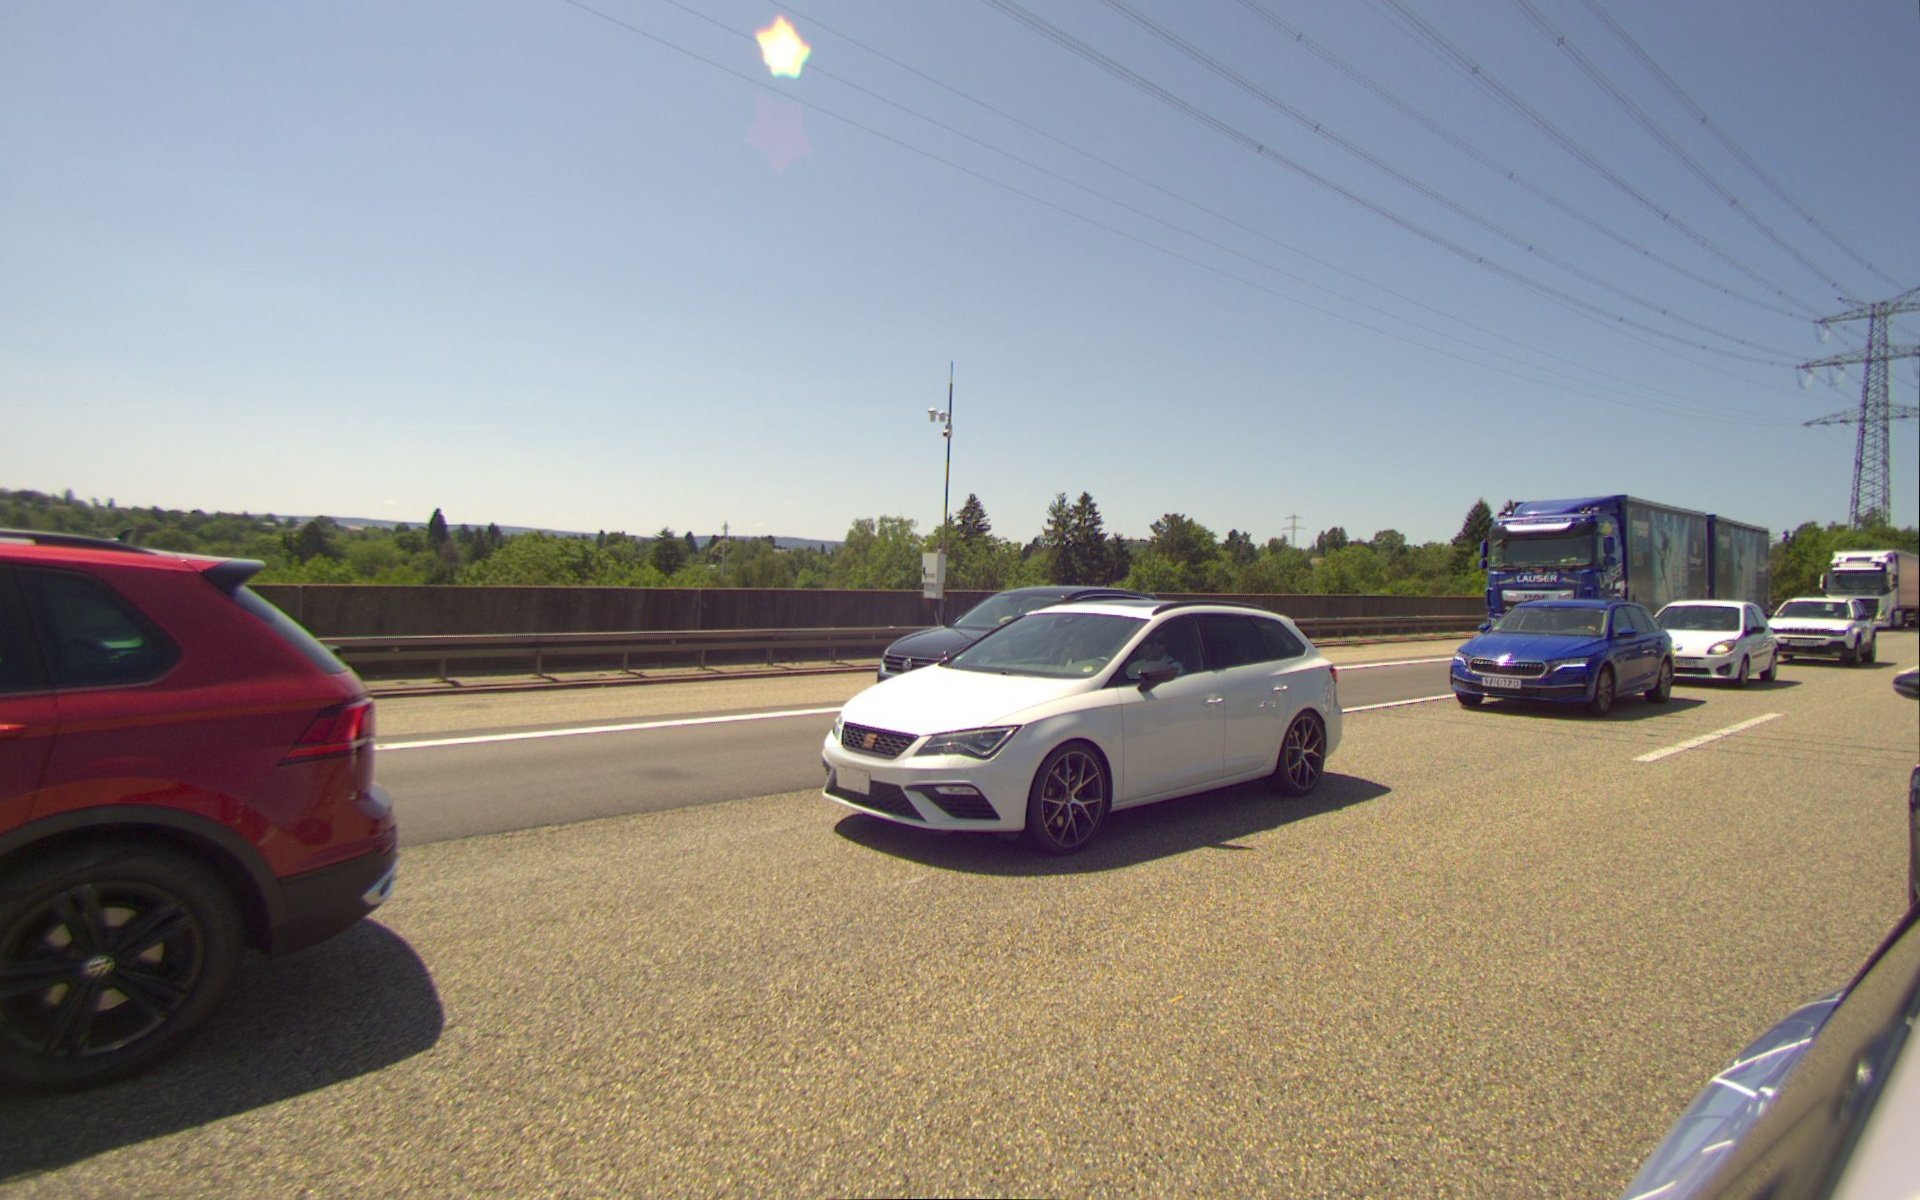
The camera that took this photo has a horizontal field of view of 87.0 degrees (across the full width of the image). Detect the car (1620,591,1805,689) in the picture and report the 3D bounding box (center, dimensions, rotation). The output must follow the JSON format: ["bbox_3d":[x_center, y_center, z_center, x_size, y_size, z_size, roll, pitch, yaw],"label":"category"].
[{"bbox_3d":[13.468,0.630,18.037,4.021,1.522,1.762,0,1,-40],"label":"car"}]

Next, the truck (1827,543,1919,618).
[{"bbox_3d":[48.671,-0.977,53.357,10.776,3.604,2.983,0,0,-41],"label":"truck"}]

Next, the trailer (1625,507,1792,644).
[{"bbox_3d":[24.688,-0.763,33.181,8.329,3.994,2.571,0,1,-40],"label":"trailer"}]

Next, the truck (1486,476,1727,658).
[{"bbox_3d":[17.604,-0.782,27.128,10.262,4.117,2.528,0,1,-40],"label":"truck"}]

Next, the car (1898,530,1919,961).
[{"bbox_3d":[5.748,0.558,4.640,3.931,1.683,1.738,0,0,-41],"label":"car"}]

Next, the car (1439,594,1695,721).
[{"bbox_3d":[8.411,0.668,13.891,4.135,1.463,1.739,0,1,-40],"label":"car"}]

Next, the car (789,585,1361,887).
[{"bbox_3d":[0.997,0.668,7.110,4.003,1.508,1.841,0,0,-42],"label":"car"}]

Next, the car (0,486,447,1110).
[{"bbox_3d":[-3.890,0.521,2.758,4.151,1.683,1.778,0,1,-41],"label":"car"}]

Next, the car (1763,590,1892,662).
[{"bbox_3d":[20.348,0.555,23.687,4.024,1.522,1.761,0,1,-42],"label":"car"}]

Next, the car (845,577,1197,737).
[{"bbox_3d":[0.822,0.534,11.766,4.034,1.546,1.739,0,0,-41],"label":"car"}]
